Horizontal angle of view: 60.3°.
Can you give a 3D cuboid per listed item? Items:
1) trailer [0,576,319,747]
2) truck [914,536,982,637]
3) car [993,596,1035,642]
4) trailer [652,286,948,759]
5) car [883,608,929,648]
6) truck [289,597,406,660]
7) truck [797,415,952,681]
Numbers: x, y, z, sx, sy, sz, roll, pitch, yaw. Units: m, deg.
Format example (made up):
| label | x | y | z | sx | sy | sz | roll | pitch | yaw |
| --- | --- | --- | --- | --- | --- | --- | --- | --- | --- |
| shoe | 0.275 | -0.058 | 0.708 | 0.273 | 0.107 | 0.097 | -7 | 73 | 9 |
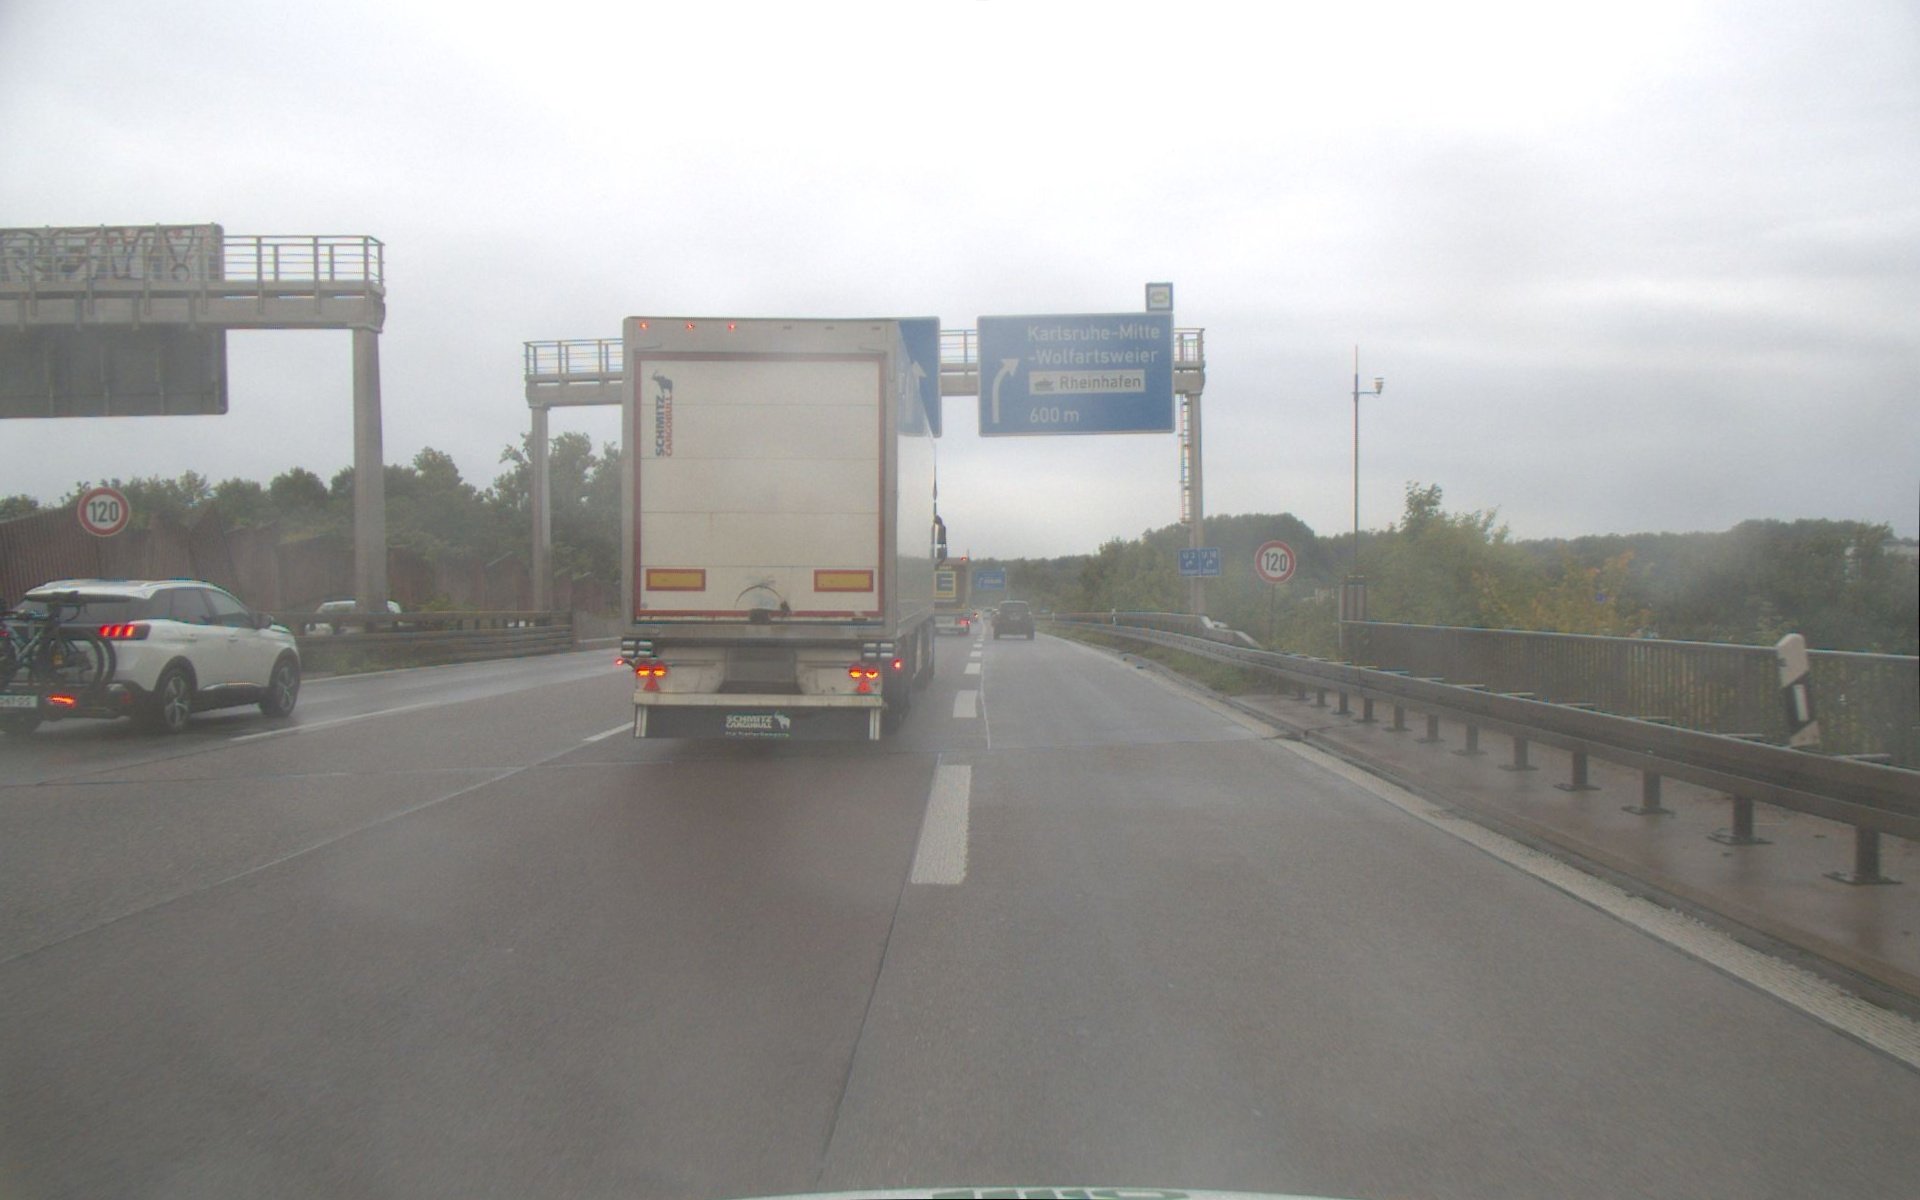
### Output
| label | x | y | z | sx | sy | sz | roll | pitch | yaw |
| --- | --- | --- | --- | --- | --- | --- | --- | --- | --- |
| trailer | -8.877 | 0.592 | 18.236 | 1.777 | 1.653 | 4.568 | 0 | 0 | 1 |
| truck | -0.574 | -0.675 | 91.764 | 3.461 | 5.274 | 9.893 | 1 | 0 | 1 |
| car | 2.454 | 0.837 | 75.014 | 1.858 | 1.983 | 4.001 | 1 | 0 | 2 |
| trailer | -1.502 | -0.776 | 22.355 | 2.294 | 4.230 | 14.828 | 1 | 1 | 1 |
| car | -2.422 | 1.239 | 75.208 | 1.855 | 1.754 | 4.000 | 1 | 0 | 1 |
| truck | -20.226 | 0.900 | 54.888 | 1.953 | 1.964 | 5.249 | 0 | 0 | 0 |
| truck | -1.390 | -0.861 | 29.716 | 2.294 | 4.230 | 6.347 | 1 | 0 | 1 |
